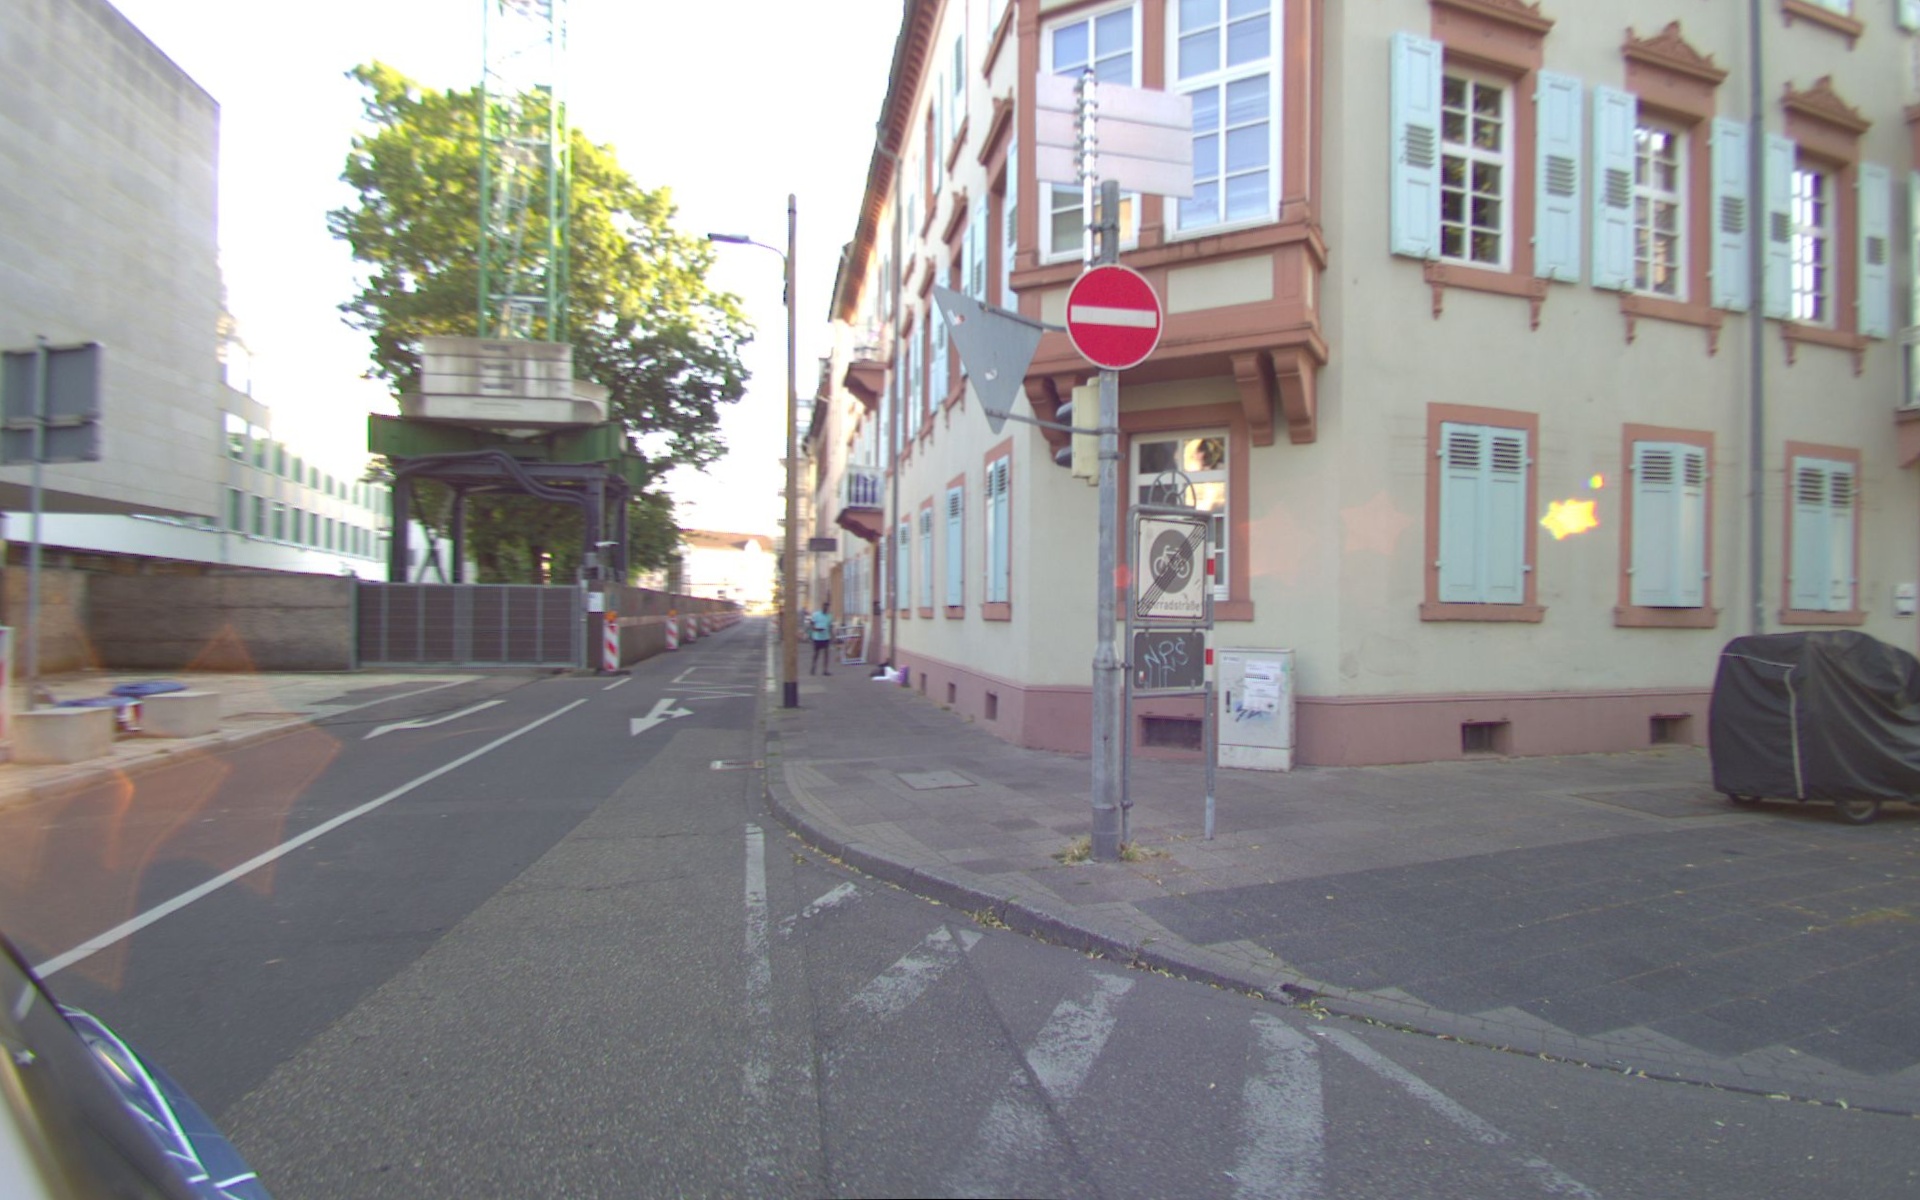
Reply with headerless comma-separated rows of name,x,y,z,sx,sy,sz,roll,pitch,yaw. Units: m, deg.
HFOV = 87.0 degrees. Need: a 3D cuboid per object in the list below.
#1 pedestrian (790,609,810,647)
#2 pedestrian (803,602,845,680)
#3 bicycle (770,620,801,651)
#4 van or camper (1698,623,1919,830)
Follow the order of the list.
pedestrian,-7.250,1.253,45.828,0.813,1.709,0.651,0,-1,-13
pedestrian,-3.101,0.924,22.966,0.813,1.709,0.651,-3,-1,-13
bicycle,-7.055,1.426,40.931,0.654,1.179,1.601,-1,-1,14
van or camper,6.293,0.817,7.031,1.814,1.269,0.947,1,0,-16
